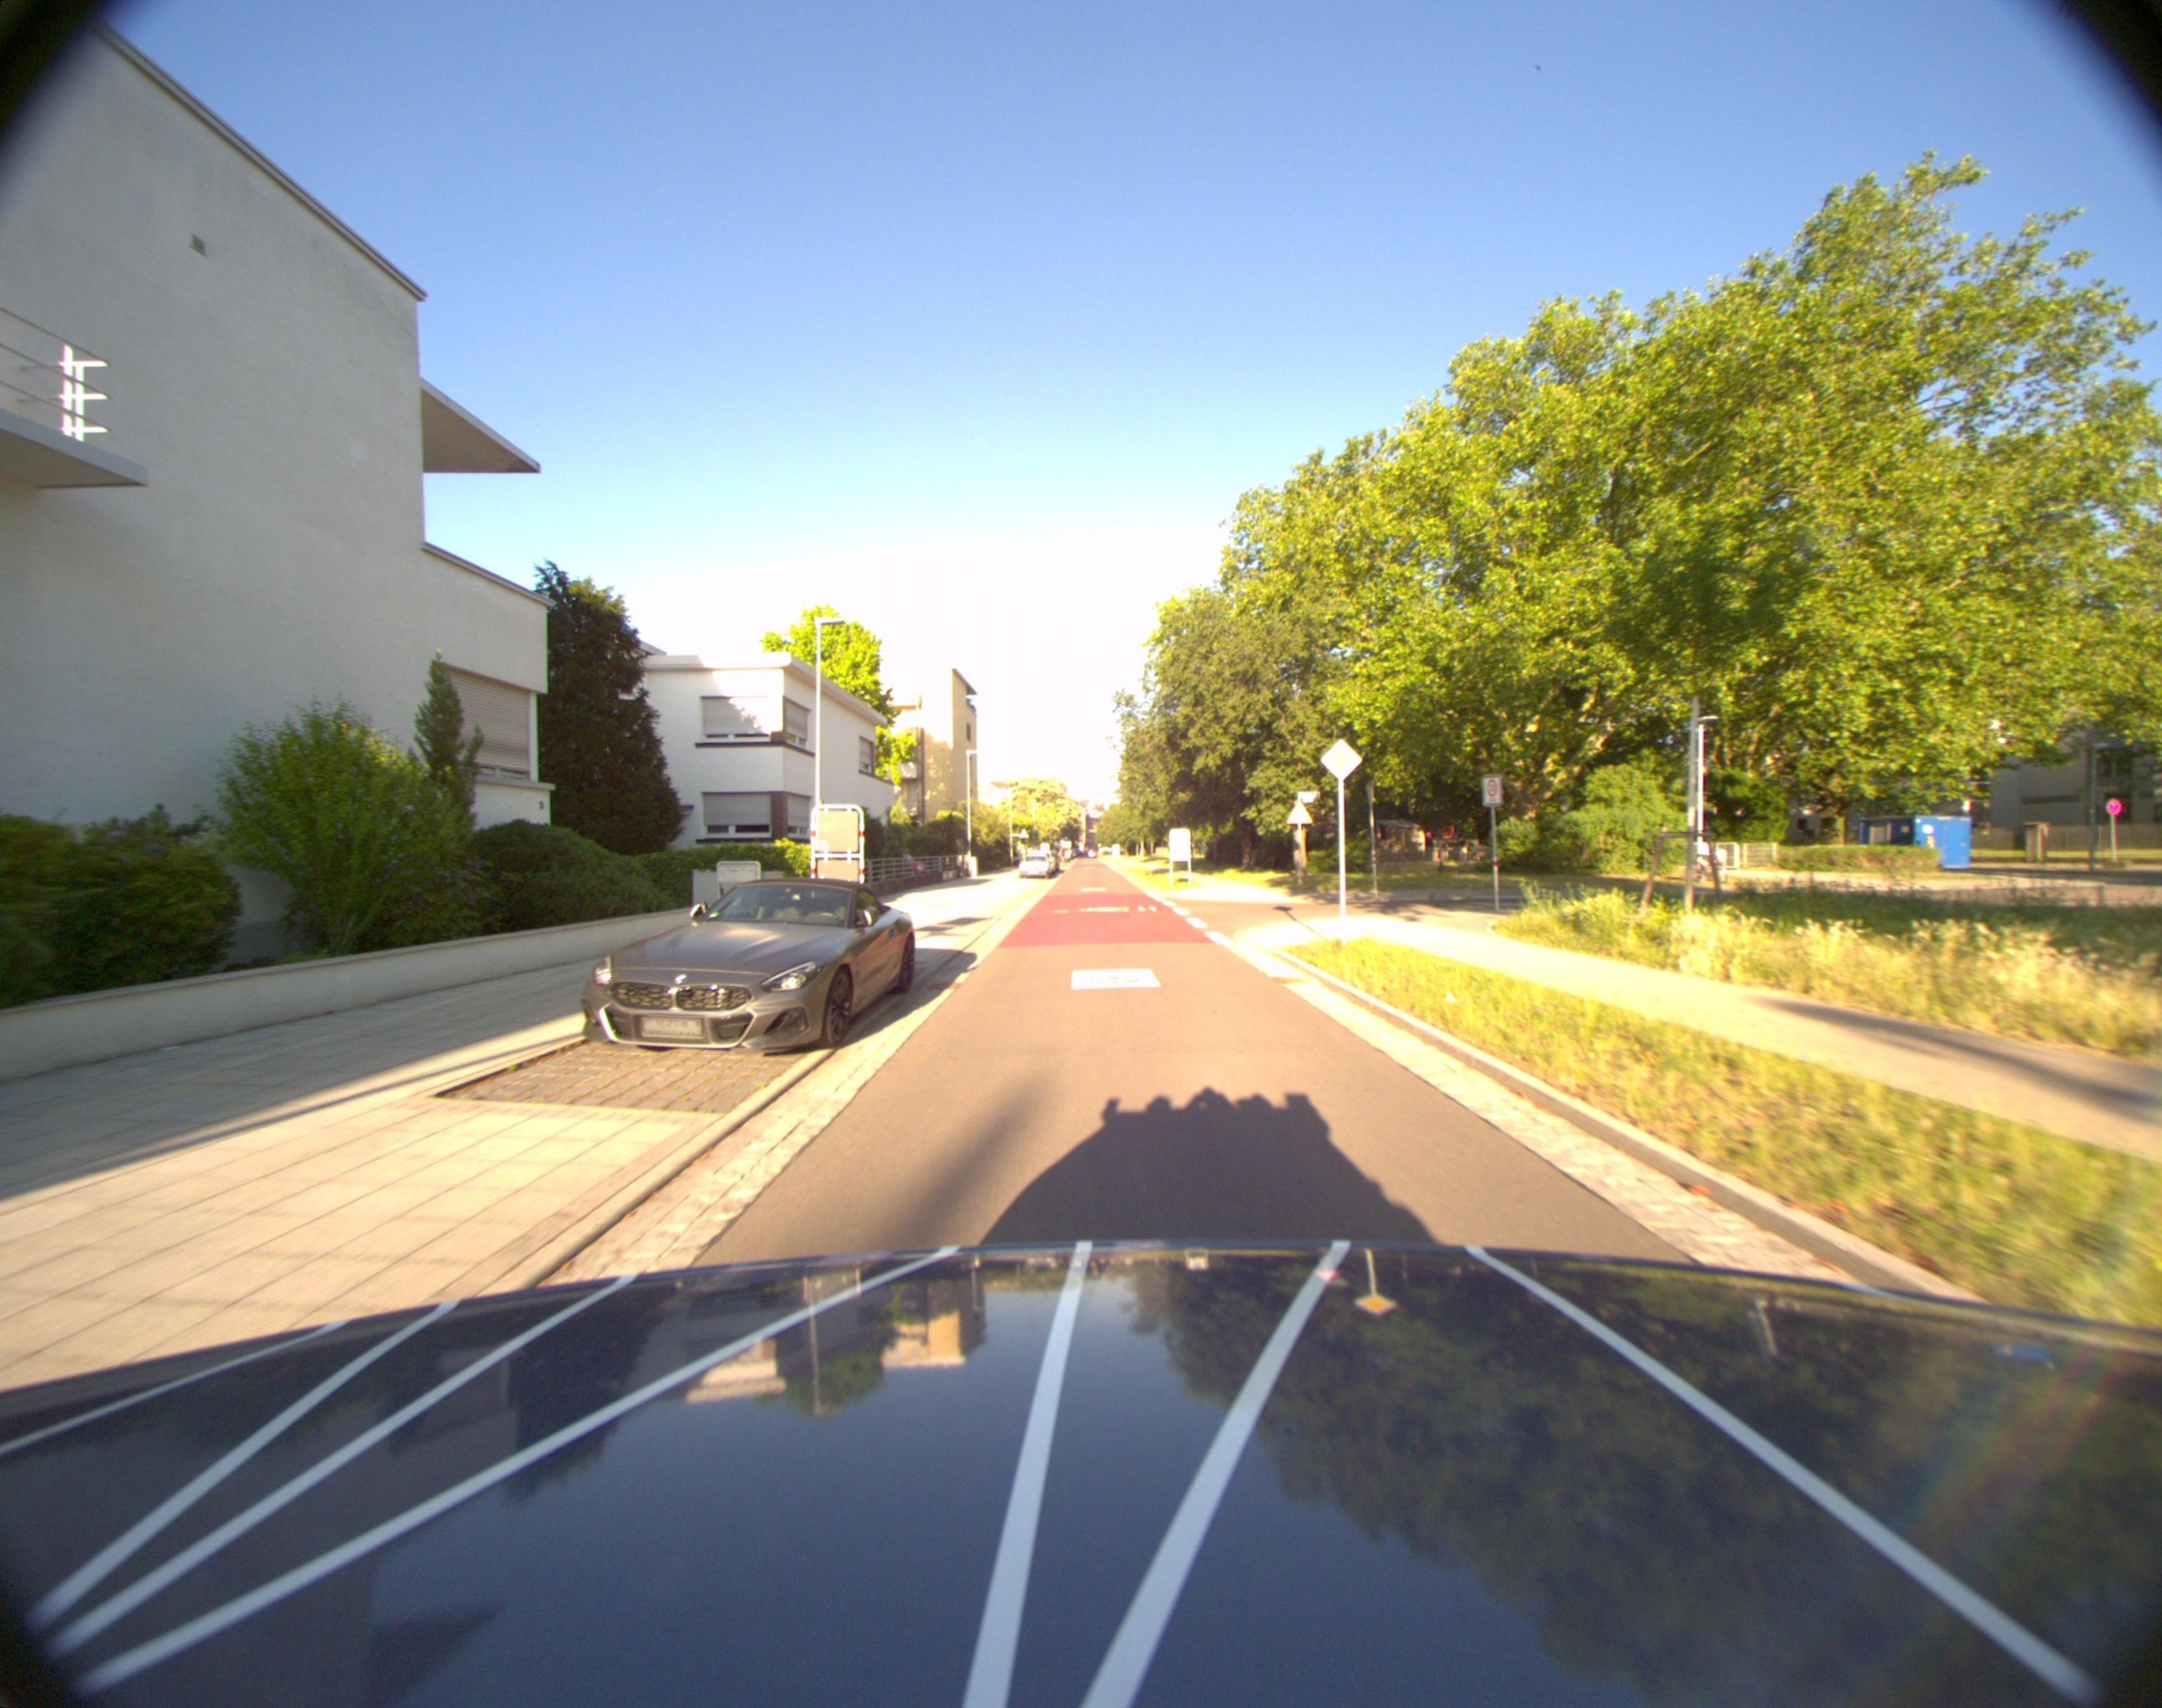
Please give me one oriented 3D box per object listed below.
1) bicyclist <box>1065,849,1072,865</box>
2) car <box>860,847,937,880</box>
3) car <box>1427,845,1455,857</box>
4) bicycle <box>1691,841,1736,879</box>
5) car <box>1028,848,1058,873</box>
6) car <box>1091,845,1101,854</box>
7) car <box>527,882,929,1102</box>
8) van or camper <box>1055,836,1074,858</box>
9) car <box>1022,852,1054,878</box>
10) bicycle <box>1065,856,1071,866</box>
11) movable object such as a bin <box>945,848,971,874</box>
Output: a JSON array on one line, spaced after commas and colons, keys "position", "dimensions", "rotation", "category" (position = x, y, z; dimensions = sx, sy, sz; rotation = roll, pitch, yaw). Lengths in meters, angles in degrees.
[{"position": [-1.366, 0.308, 81.350], "dimensions": [0.683, 1.663, 1.172], "rotation": [0, 2, 0], "category": "bicyclist"}, {"position": [-9.497, 0.472, 39.716], "dimensions": [3.499, 1.632, 1.644], "rotation": [-1, 1, 8], "category": "car"}, {"position": [43.104, -0.316, 91.019], "dimensions": [1.526, 1.360, 3.792], "rotation": [-1, 0, 0], "category": "car"}, {"position": [20.400, 0.193, 24.503], "dimensions": [1.591, 1.180, 0.419], "rotation": [-1, 2, -22], "category": "bicycle"}, {"position": [-2.464, 0.378, 50.064], "dimensions": [1.683, 1.547, 4.130], "rotation": [1, 1, 2], "category": "car"}, {"position": [3.180, -0.898, 162.263], "dimensions": [1.849, 1.837, 4.572], "rotation": [-1, 0, -2], "category": "car"}, {"position": [-2.838, 1.022, 7.317], "dimensions": [1.779, 1.281, 4.272], "rotation": [2, 0, 1], "category": "car"}, {"position": [-2.179, -0.956, 102.637], "dimensions": [2.427, 2.767, 5.951], "rotation": [1, 1, -1], "category": "van or camper"}, {"position": [-2.450, 0.592, 44.327], "dimensions": [1.567, 1.382, 4.374], "rotation": [1, 1, 1], "category": "car"}, {"position": [-1.365, 0.742, 81.360], "dimensions": [0.558, 1.026, 1.914], "rotation": [0, 1, 0], "category": "bicycle"}, {"position": [-7.008, 0.408, 43.280], "dimensions": [1.240, 1.424, 1.123], "rotation": [-1, 1, 2], "category": "movable object such as a bin"}]
